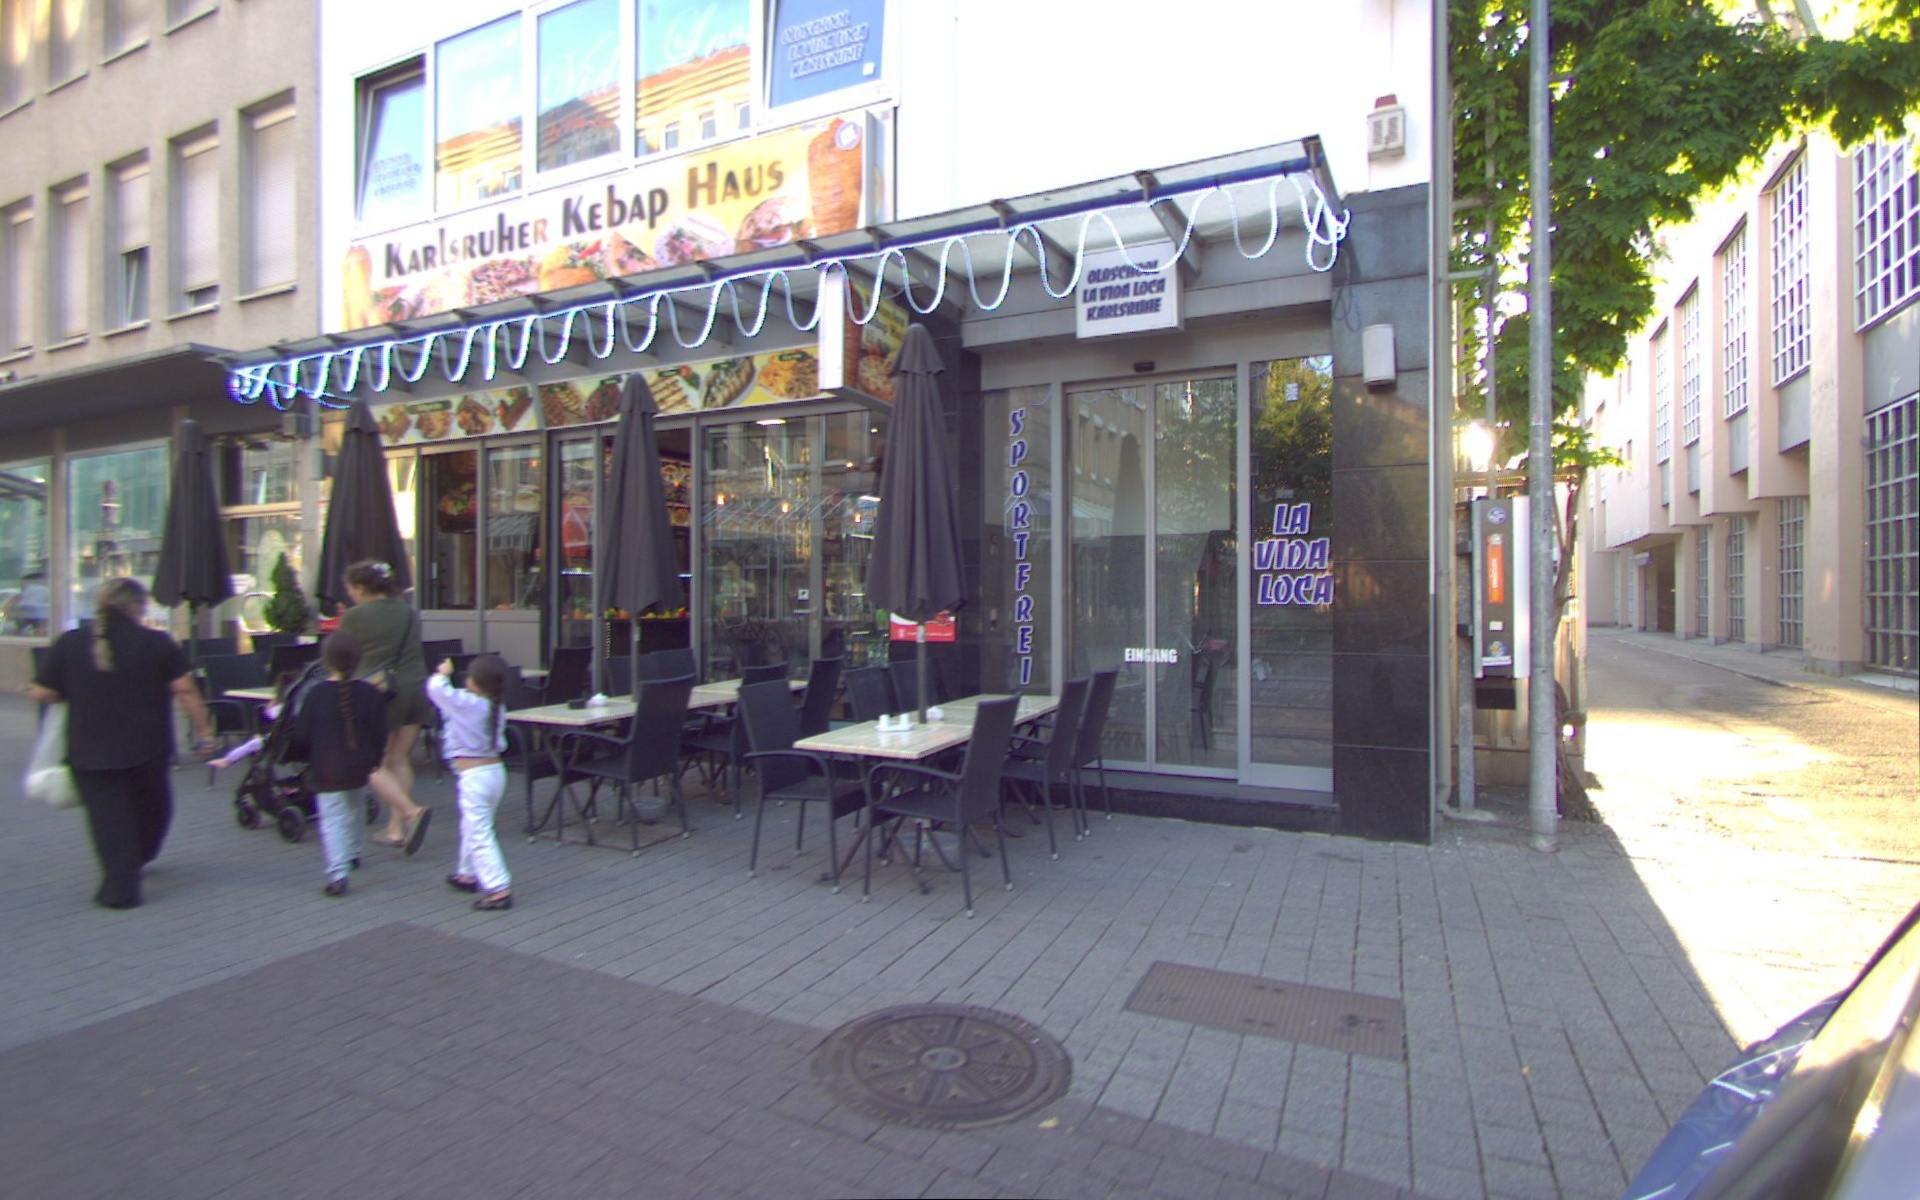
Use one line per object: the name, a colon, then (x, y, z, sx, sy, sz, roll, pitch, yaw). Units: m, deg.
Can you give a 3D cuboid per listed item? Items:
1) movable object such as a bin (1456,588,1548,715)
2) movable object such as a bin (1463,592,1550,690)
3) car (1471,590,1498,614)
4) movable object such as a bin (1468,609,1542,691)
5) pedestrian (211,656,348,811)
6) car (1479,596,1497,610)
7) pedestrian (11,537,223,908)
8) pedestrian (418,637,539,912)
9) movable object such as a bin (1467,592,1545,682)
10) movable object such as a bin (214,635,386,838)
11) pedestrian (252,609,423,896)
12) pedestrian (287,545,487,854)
movable object such as a bin: (6.139, 0.541, 11.437, 0.831, 1.321, 1.276, 2, 1, 30)
movable object such as a bin: (8.332, 0.593, 15.488, 1.057, 1.384, 1.330, 2, 1, 25)
car: (41.293, 0.189, 79.761, 1.748, 1.789, 4.705, -3, -1, 27)
movable object such as a bin: (7.746, 0.692, 14.422, 0.863, 1.088, 0.732, 2, 1, 26)
pedestrian: (-3.967, 0.751, 5.901, 0.546, 0.802, 0.505, 0, 0, 35)
car: (71.999, 0.413, 138.132, 1.979, 1.839, 3.964, -2, -1, 26)
pedestrian: (-3.906, 0.509, 4.737, 0.710, 1.550, 0.717, 0, 0, -38)
pedestrian: (-2.191, 0.752, 4.599, 0.403, 1.138, 0.473, 0, 0, -38)
movable object such as a bin: (8.985, 0.581, 16.717, 0.929, 1.384, 1.332, 2, 1, 21)
movable object such as a bin: (-3.829, 0.743, 5.871, 0.794, 1.050, 0.581, 0, 0, 35)
pedestrian: (-3.018, 0.681, 4.907, 0.653, 1.263, 0.514, 0, 0, -38)
pedestrian: (-3.151, 0.497, 5.585, 0.617, 1.555, 0.783, 0, 0, 37)
